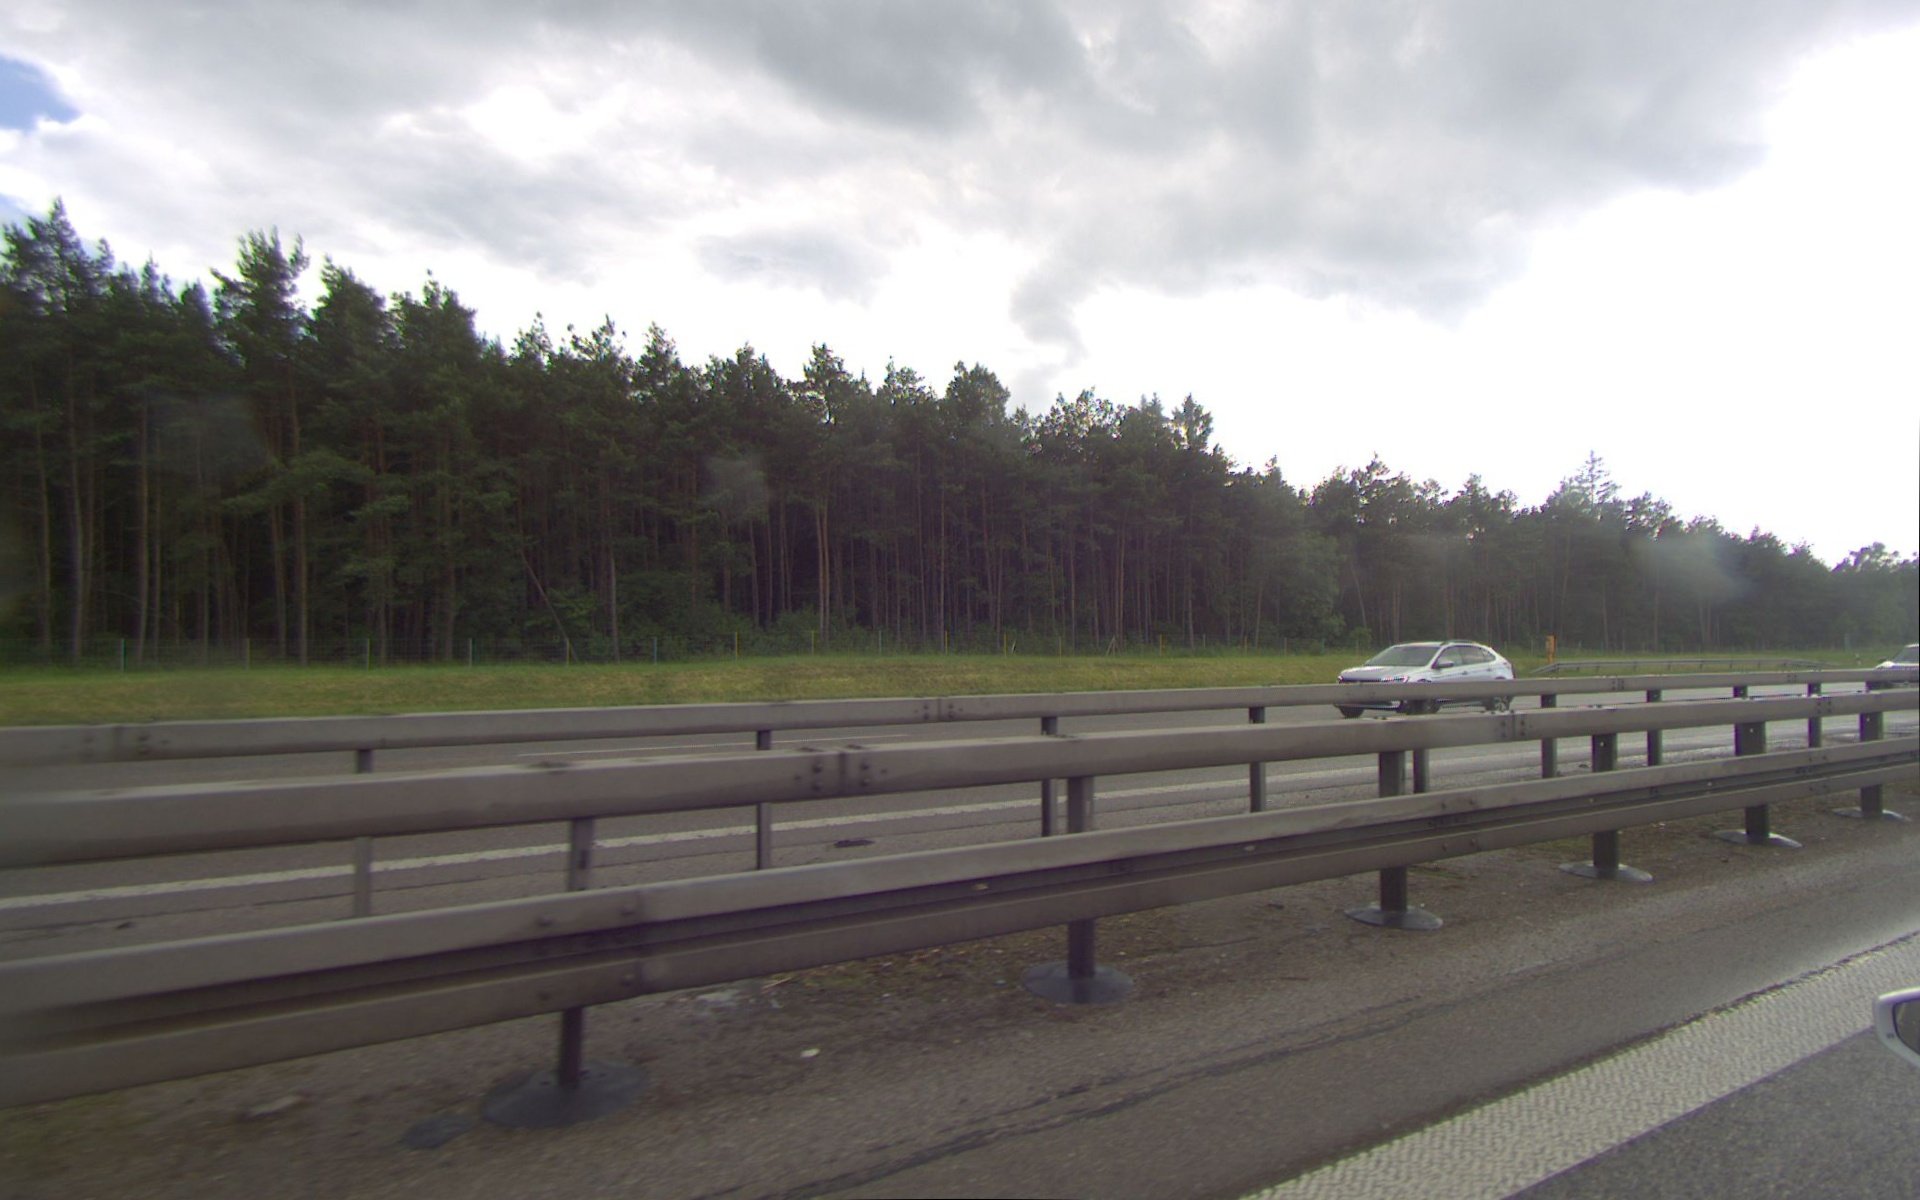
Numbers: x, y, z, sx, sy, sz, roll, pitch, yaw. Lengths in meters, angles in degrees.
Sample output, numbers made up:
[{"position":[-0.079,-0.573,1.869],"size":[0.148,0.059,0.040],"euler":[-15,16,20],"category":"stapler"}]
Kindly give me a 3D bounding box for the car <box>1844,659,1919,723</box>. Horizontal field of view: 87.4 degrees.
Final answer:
[{"position":[23.319,2.160,24.336],"size":[4.047,1.407,1.719],"euler":[2,-3,-32],"category":"car"}]

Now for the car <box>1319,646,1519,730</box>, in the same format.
[{"position":[9.101,1.660,19.862],"size":[3.955,1.500,1.719],"euler":[2,-2,-32],"category":"car"}]
